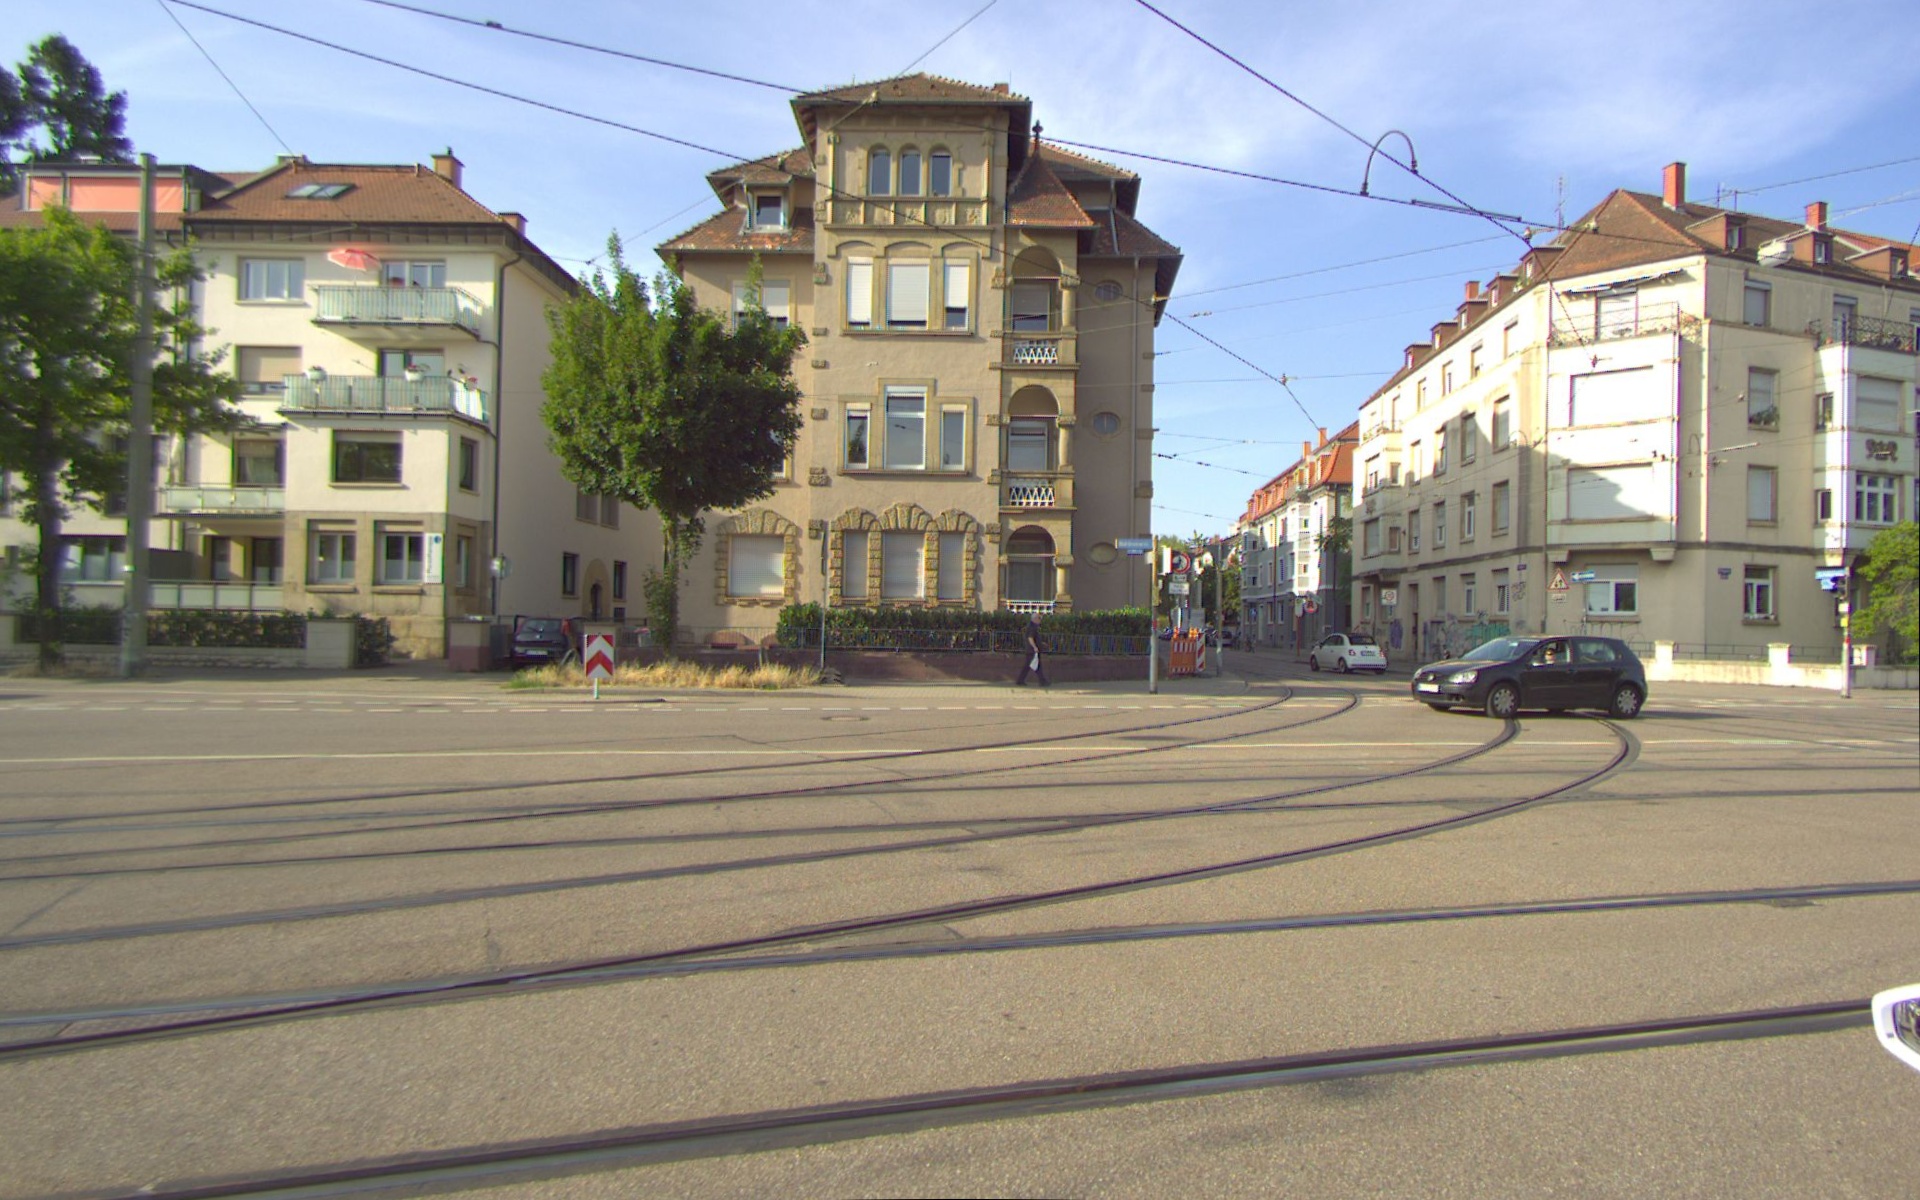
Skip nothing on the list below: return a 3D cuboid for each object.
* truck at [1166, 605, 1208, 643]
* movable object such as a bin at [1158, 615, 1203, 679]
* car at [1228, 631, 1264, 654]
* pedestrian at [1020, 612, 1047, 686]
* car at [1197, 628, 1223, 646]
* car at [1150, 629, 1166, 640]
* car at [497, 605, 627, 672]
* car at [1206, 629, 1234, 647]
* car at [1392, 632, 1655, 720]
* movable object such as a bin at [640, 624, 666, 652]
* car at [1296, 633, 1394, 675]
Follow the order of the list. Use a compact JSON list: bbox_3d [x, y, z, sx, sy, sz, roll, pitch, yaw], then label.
[{"bbox_3d":[24.518,2.596,109.073,3.191,3.778,9.930,1,-1,6],"label":"truck"},{"bbox_3d":[6.191,1.297,28.102,0.260,1.732,2.374,0,-1,36],"label":"movable object such as a bin"},{"bbox_3d":[19.967,2.931,70.220,1.763,1.476,4.003,1,-1,7],"label":"car"},{"bbox_3d":[1.725,1.137,23.502,0.592,1.673,0.681,1,-1,5],"label":"pedestrian"},{"bbox_3d":[22.759,3.358,91.594,1.763,1.476,4.003,1,-1,6],"label":"car"},{"bbox_3d":[27.639,4.782,140.219,1.764,1.476,4.002,1,-1,5],"label":"car"},{"bbox_3d":[-10.559,1.002,26.974,1.740,1.653,4.002,1,-1,3],"label":"car"},{"bbox_3d":[22.380,3.240,86.586,1.763,1.476,4.003,1,-1,7],"label":"car"},{"bbox_3d":[10.075,1.334,18.073,3.928,1.452,1.769,1,-1,-10],"label":"car"},{"bbox_3d":[-9.261,1.150,30.301,0.598,0.825,0.655,1,-1,-6],"label":"movable object such as a bin"},{"bbox_3d":[14.558,2.017,38.228,1.767,1.476,3.994,1,-1,-9],"label":"car"}]
